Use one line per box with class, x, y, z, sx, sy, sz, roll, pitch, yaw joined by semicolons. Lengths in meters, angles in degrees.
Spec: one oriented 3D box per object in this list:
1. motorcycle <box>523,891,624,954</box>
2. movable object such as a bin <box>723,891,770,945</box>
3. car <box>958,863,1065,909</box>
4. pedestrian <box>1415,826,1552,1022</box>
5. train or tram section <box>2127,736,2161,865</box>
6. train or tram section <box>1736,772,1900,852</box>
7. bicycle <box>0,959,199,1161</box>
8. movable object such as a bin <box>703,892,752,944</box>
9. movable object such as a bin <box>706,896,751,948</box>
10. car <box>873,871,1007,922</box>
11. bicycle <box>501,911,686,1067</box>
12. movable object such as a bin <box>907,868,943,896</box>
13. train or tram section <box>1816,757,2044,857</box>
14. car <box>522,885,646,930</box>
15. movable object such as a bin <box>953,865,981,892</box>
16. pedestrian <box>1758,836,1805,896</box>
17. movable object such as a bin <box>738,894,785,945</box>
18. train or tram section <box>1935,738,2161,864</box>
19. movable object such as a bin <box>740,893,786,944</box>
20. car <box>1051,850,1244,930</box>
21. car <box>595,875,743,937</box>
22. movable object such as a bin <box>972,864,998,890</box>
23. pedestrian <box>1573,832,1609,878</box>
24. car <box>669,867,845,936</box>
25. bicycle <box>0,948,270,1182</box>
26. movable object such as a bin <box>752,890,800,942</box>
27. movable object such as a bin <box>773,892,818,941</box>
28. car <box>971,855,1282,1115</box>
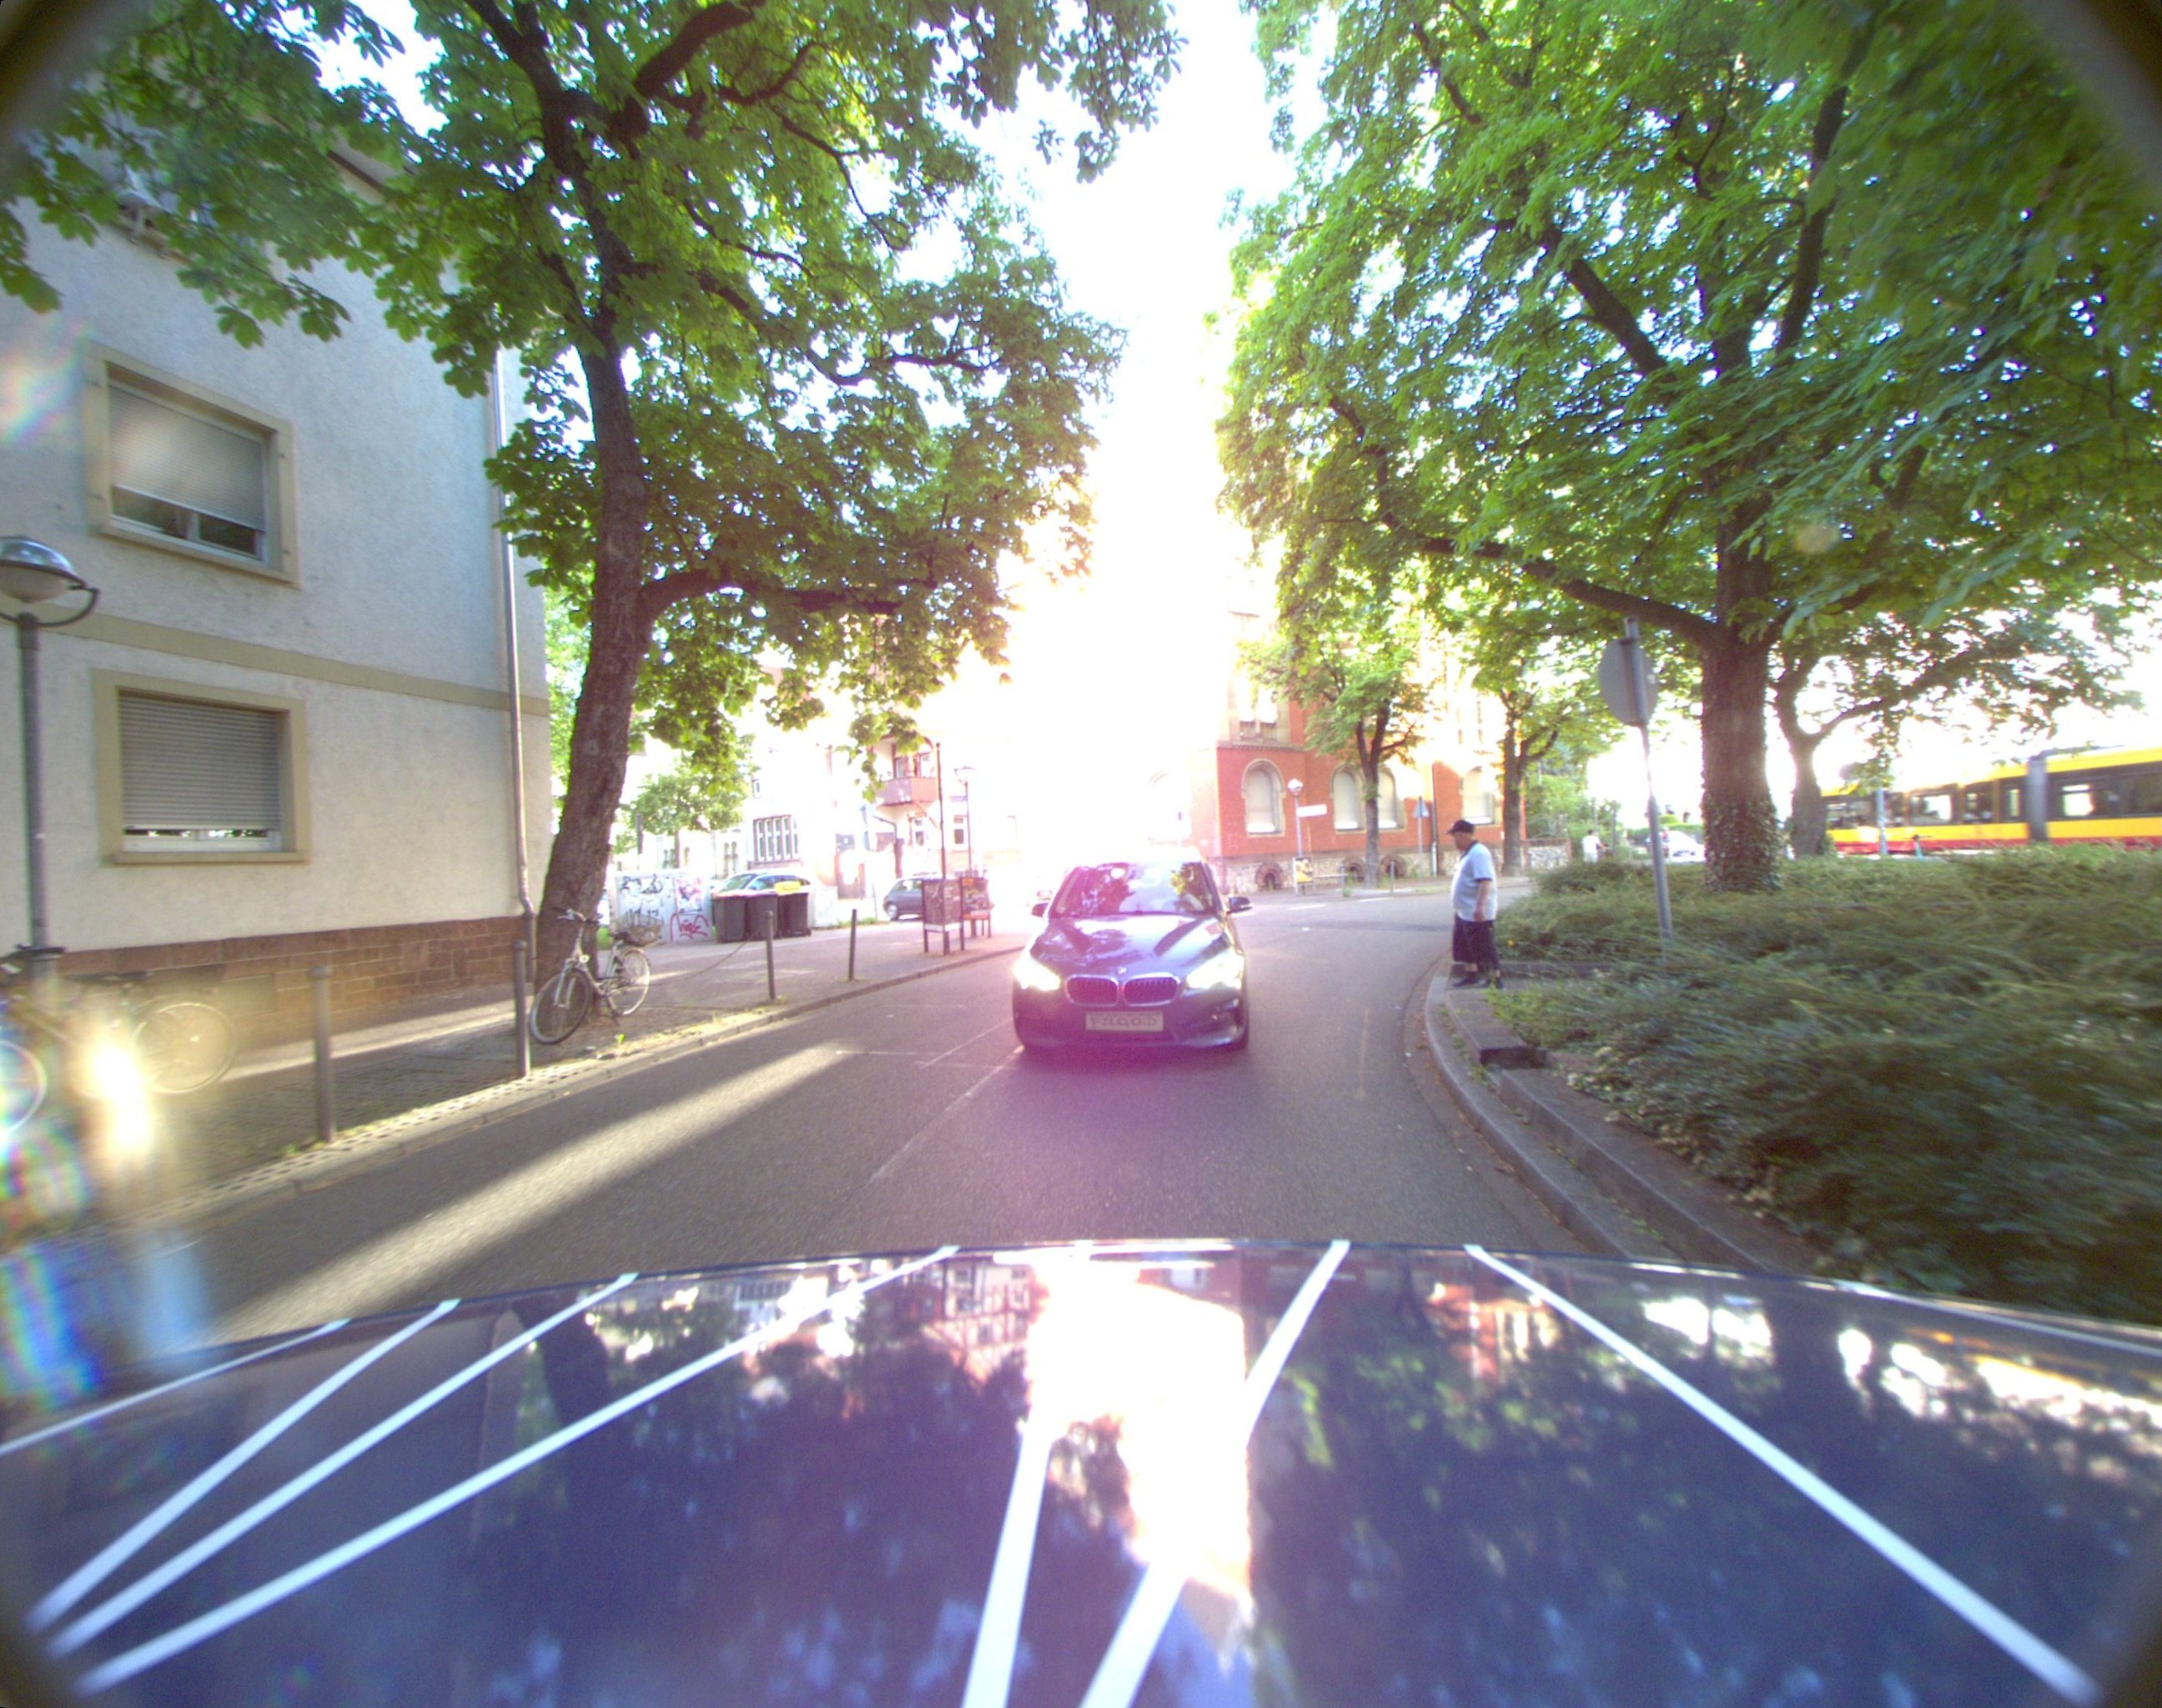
motorcycle;-11.348;1.519;16.990;2.177;1.272;0.980;-3;0;31
movable object such as a bin;-7.641;1.456;17.340;0.700;1.146;0.635;-4;2;40
car;-2.667;1.227;28.718;3.787;1.477;1.713;-3;2;39
pedestrian;3.764;0.609;7.103;0.920;1.674;0.778;-3;0;-41
train or tram section;30.583;-1.536;18.036;2.928;3.578;7.198;-4;0;17
train or tram section;37.031;-2.017;38.611;2.968;3.487;7.197;-4;1;17
bicycle;-6.861;1.348;4.815;0.392;1.102;1.803;-3;0;0
movable object such as a bin;-8.286;1.495;17.820;0.699;1.146;0.741;-3;0;40
movable object such as a bin;-7.639;1.465;16.482;0.672;1.077;0.594;-3;0;38
car;-4.500;1.337;23.948;4.244;1.387;1.798;-3;0;40
bicycle;-4.621;1.218;7.378;0.555;1.175;1.790;-3;0;1
movable object such as a bin;-7.907;1.407;38.520;1.383;1.291;0.966;-4;1;-41
train or tram section;34.896;-1.802;31.742;2.968;3.487;7.197;-4;1;17
car;-19.043;2.026;29.228;1.673;1.496;3.608;-4;-2;40
movable object such as a bin;-6.087;1.301;40.589;0.685;1.310;1.387;-3;1;32
pedestrian;18.948;0.325;20.565;0.852;1.595;0.603;-3;0;39
movable object such as a bin;-7.768;1.575;18.478;0.714;1.146;0.741;-3;0;40
train or tram section;32.736;-1.681;24.894;2.933;3.570;7.197;-4;1;17
movable object such as a bin;-7.059;1.424;16.876;0.703;1.069;0.632;-3;0;40
car;1.504;0.864;18.405;4.251;1.584;2.003;-4;1;45
car;-13.060;1.599;24.205;1.699;1.641;3.712;-3;0;43
movable object such as a bin;-5.235;1.246;41.556;0.629;1.302;1.207;-3;1;41
pedestrian;18.958;0.027;28.242;0.858;1.633;0.871;-3;0;19
car;-9.138;1.299;21.738;2.019;1.702;4.128;-4;-2;35
bicycle;-6.432;1.308;4.881;0.438;1.174;1.785;-3;0;1
movable object such as a bin;-7.191;1.440;17.930;0.699;1.146;0.741;-3;0;40
movable object such as a bin;-6.554;1.431;17.467;0.692;1.058;0.660;-3;0;40
car;0.540;0.866;7.134;1.923;1.597;4.519;-3;0;7
